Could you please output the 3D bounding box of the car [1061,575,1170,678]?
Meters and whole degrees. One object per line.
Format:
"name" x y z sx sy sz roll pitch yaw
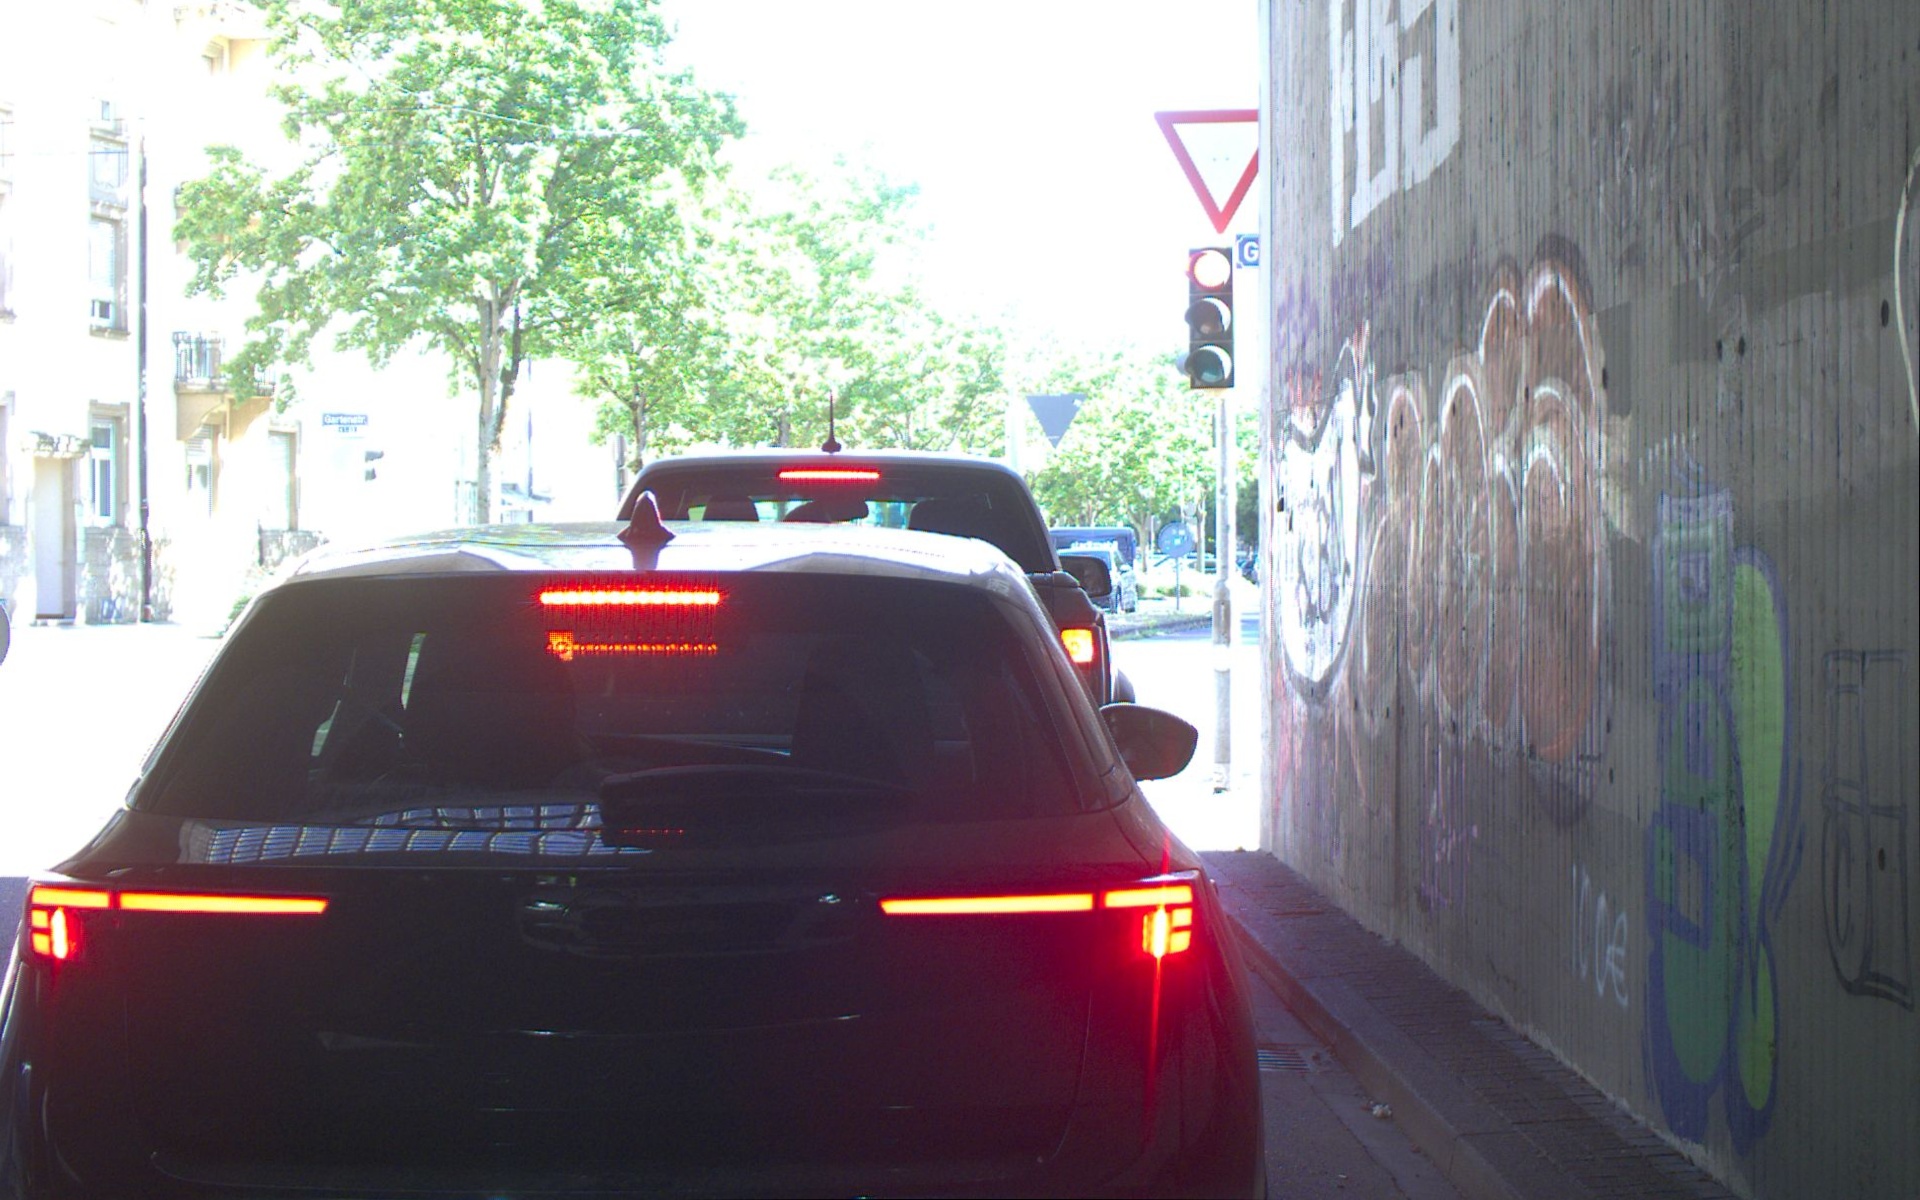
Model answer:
"car" 3.120 0.499 68.447 1.994 1.963 4.163 1 1 5

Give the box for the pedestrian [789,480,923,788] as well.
"pedestrian" -0.592 0.187 19.842 0.731 1.728 0.874 1 0 -1

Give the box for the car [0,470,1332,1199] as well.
"car" -0.482 0.569 6.029 1.764 1.566 4.001 1 2 -1

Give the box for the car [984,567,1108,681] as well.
"car" 1.584 0.405 62.202 1.994 1.963 4.163 1 1 5

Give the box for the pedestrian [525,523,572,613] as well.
"pedestrian" -9.671 -0.754 80.795 0.892 2.080 0.808 1 0 7

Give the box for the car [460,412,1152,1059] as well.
"car" -0.467 0.354 11.976 1.993 1.865 4.000 0 1 -1
